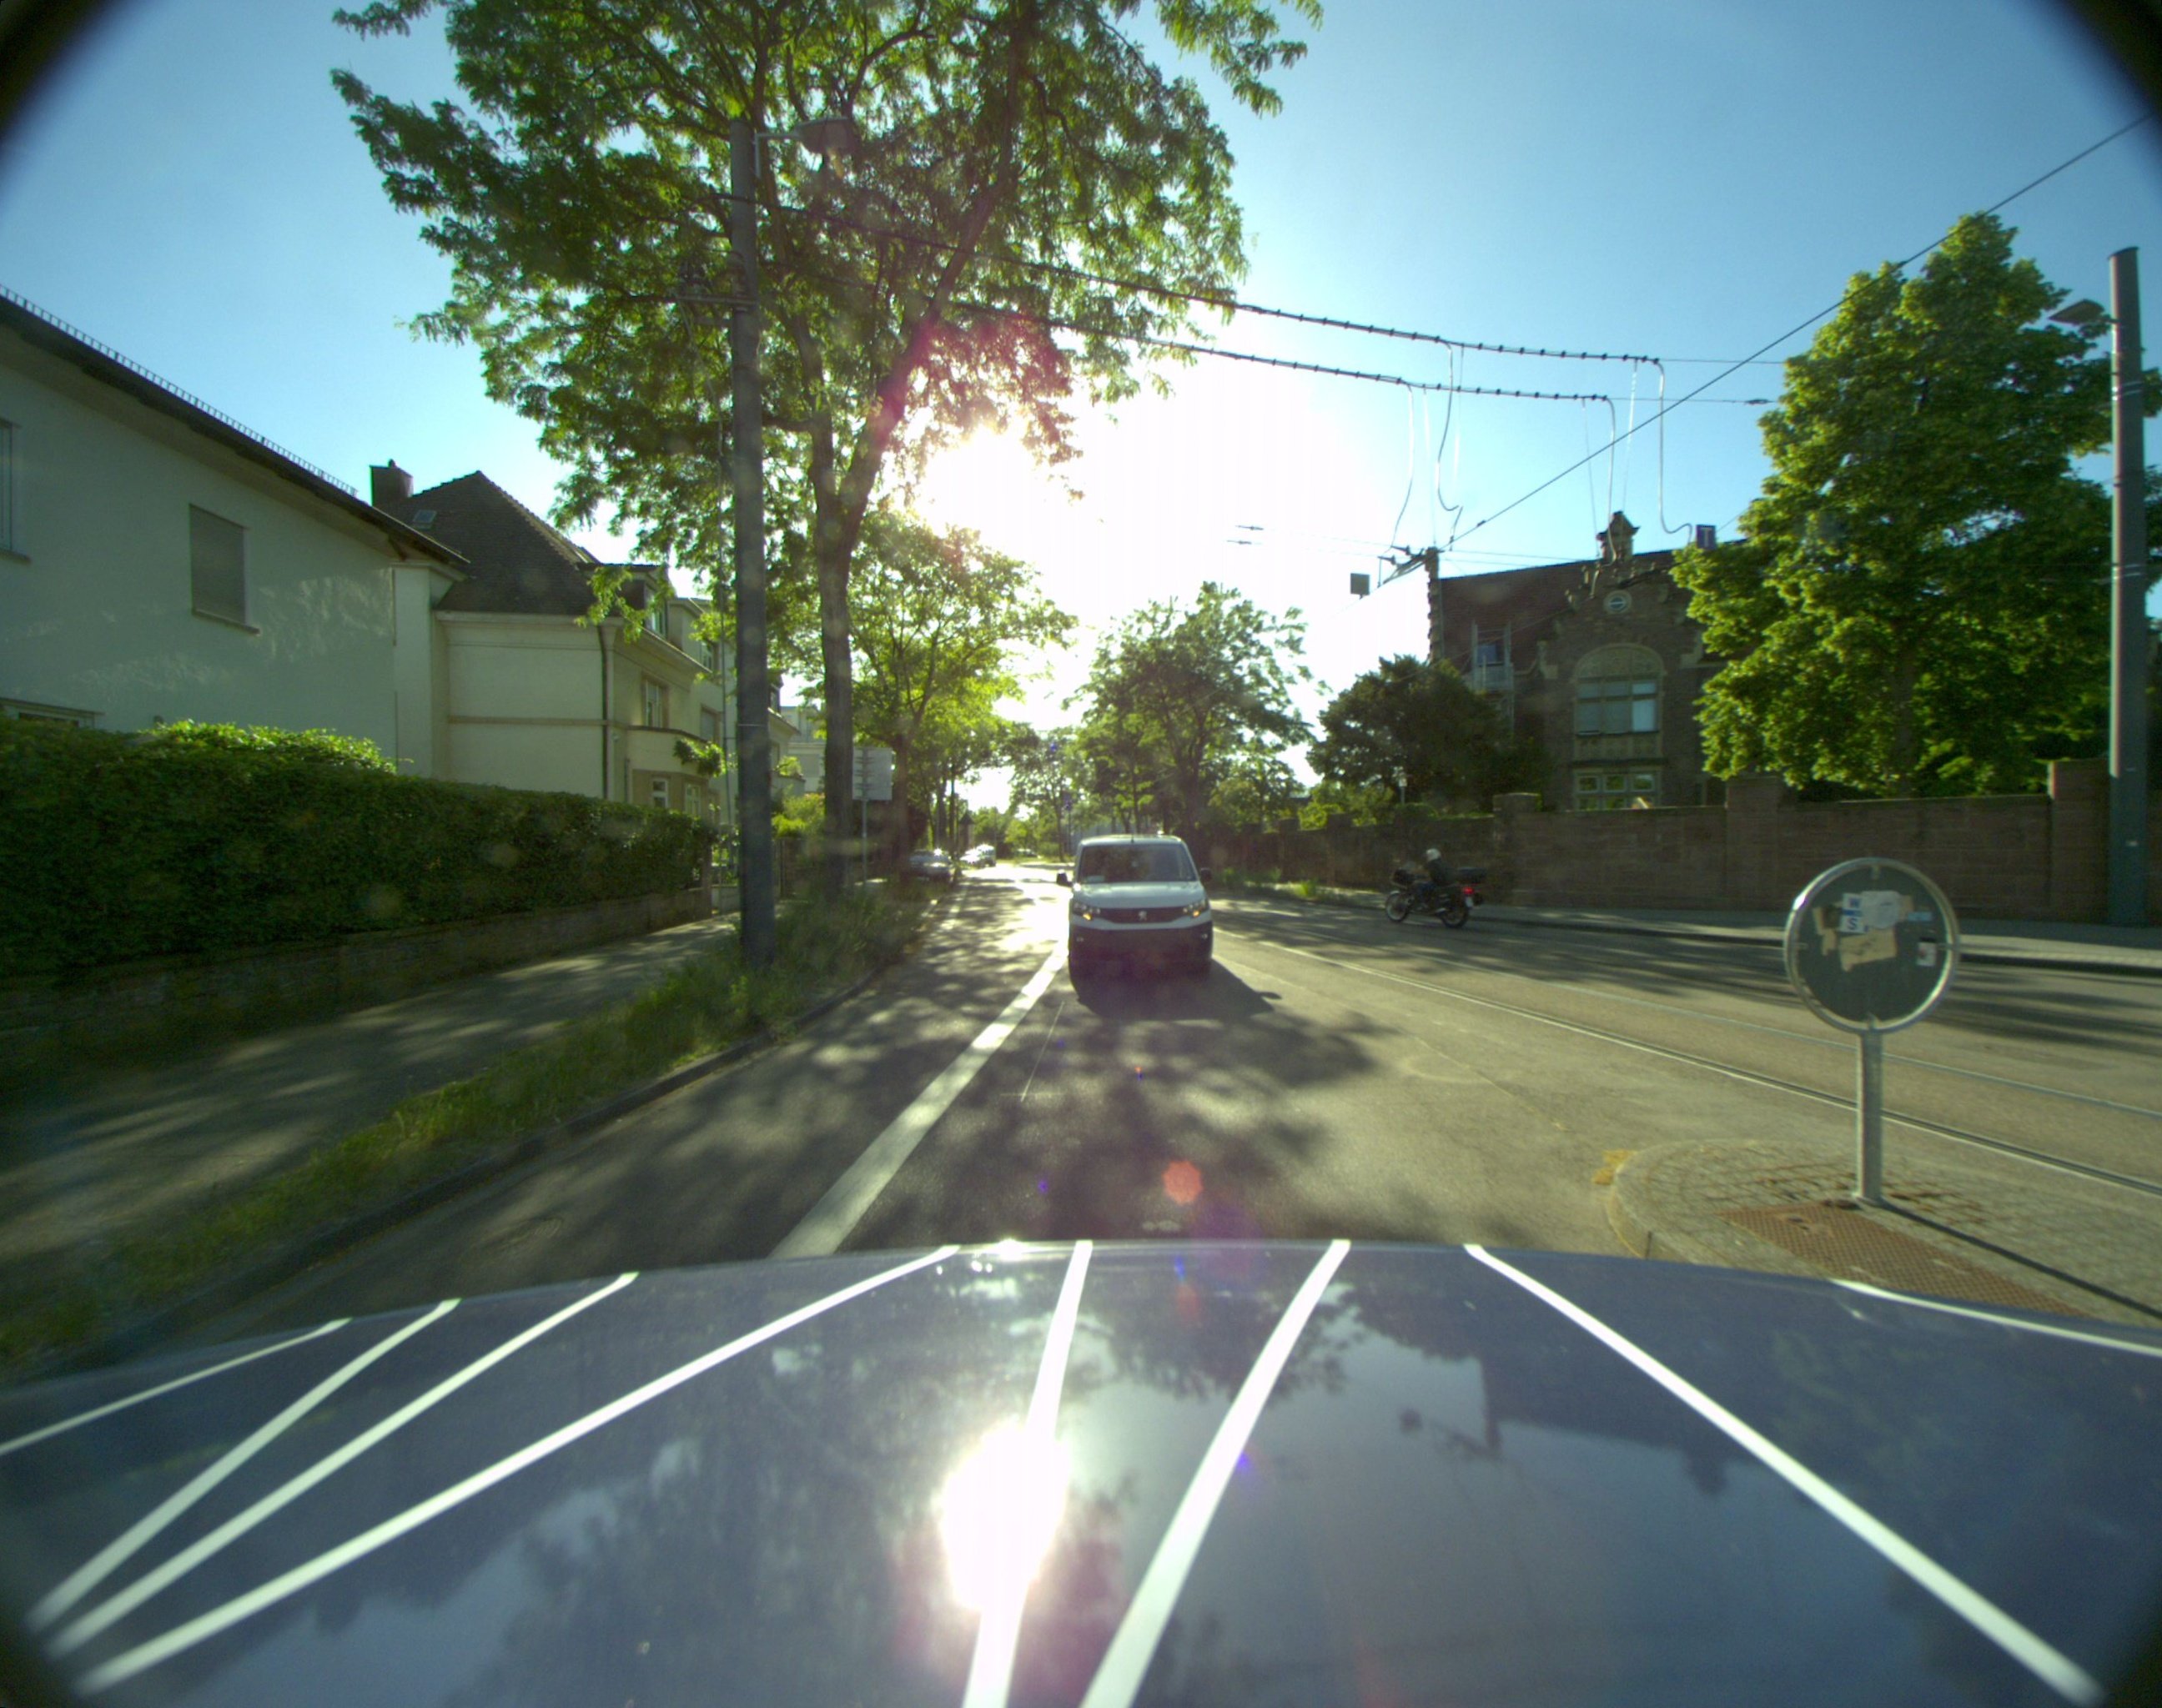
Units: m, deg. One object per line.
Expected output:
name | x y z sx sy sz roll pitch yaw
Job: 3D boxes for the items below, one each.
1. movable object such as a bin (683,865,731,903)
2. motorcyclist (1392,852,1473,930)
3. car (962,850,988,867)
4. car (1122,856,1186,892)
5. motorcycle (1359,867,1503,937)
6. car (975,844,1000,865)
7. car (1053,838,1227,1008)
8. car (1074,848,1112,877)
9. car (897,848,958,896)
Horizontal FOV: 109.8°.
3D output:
movable object such as a bin | -10.725 0.855 21.803 0.965 1.049 0.728 0 2 20
motorcyclist | 7.264 0.728 15.740 1.130 1.516 1.053 -2 2 -28
car | -8.939 0.365 64.308 1.720 1.332 3.916 -1 1 -2
car | 2.997 0.827 31.977 1.889 1.406 4.623 1 -1 -5
motorcycle | 7.216 0.943 15.842 1.135 1.236 2.567 -2 1 -28
car | -8.707 -0.007 70.715 1.905 1.819 4.246 -1 1 -2
car | 0.627 0.709 10.437 1.832 1.788 4.333 -2 1 -1
car | 0.668 0.467 45.184 1.801 1.628 4.116 0 0 -6
car | -6.055 0.649 30.457 2.000 1.733 4.167 -1 1 -7
